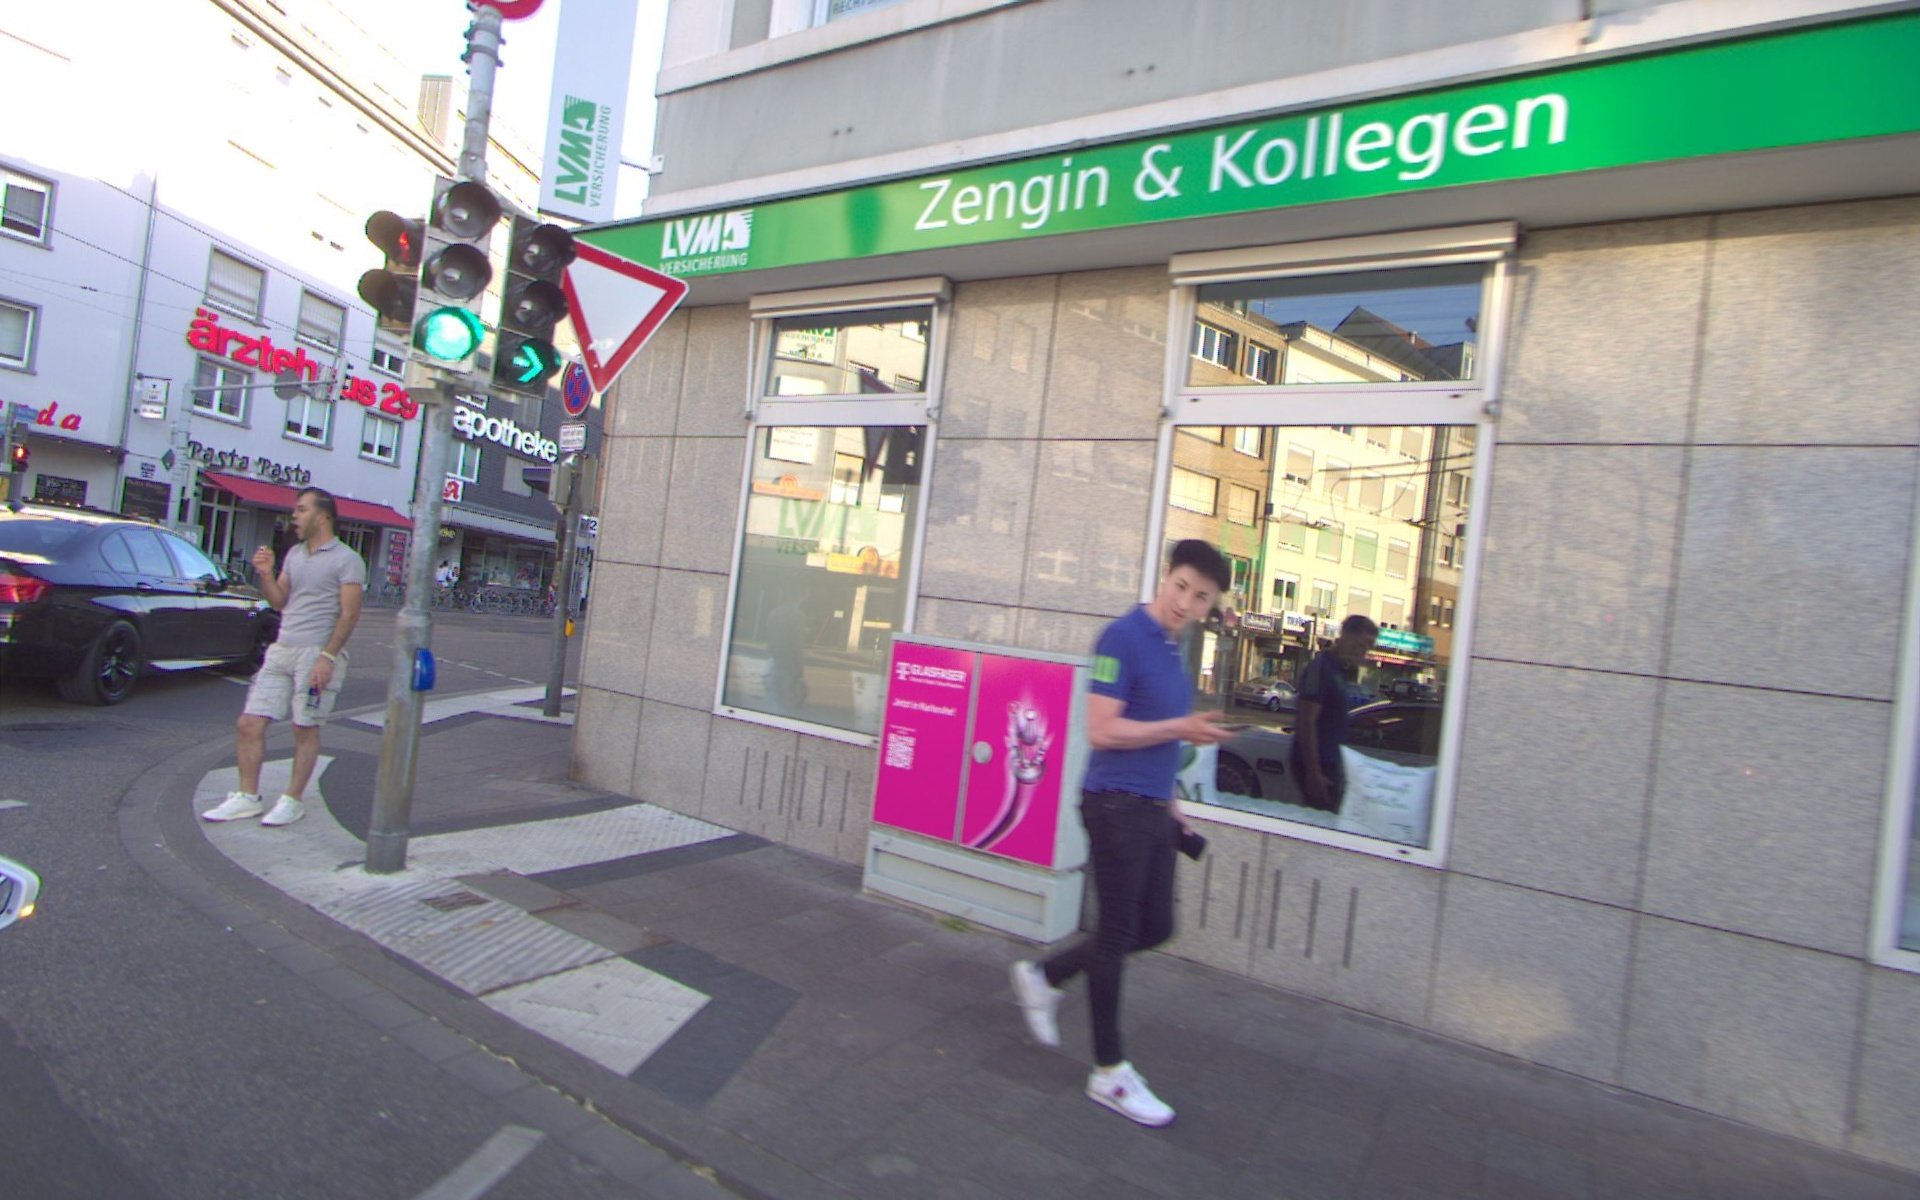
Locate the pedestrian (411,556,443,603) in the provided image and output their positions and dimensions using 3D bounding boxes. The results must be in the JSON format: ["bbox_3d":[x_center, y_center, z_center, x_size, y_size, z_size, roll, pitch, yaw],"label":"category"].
[{"bbox_3d":[-20.183,-0.778,38.098,0.671,1.681,0.625,7,0,8],"label":"pedestrian"}]

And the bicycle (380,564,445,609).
[{"bbox_3d":[-18.652,-0.463,34.280,1.861,1.225,0.554,9,0,9],"label":"bicycle"}]

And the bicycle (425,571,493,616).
[{"bbox_3d":[-17.787,-0.243,35.724,2.079,1.238,0.554,9,-1,9],"label":"bicycle"}]

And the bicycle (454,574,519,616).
[{"bbox_3d":[-17.547,-0.173,37.263,2.079,1.237,0.554,8,-2,8],"label":"bicycle"}]

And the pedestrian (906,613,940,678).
[{"bbox_3d":[-1.121,1.372,30.428,0.725,1.850,0.851,6,-1,7],"label":"pedestrian"}]

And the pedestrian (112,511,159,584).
[{"bbox_3d":[-21.405,-1.359,26.123,0.627,1.800,0.599,7,-1,30],"label":"pedestrian"}]

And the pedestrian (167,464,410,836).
[{"bbox_3d":[-3.487,0.244,5.244,0.682,1.763,0.653,7,-1,30],"label":"pedestrian"}]

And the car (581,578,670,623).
[{"bbox_3d":[-16.164,0.066,48.945,1.900,1.694,4.651,8,-1,11],"label":"car"}]

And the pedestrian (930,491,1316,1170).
[{"bbox_3d":[0.547,0.637,3.289,0.866,1.850,0.691,6,0,31],"label":"pedestrian"}]

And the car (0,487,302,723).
[{"bbox_3d":[-7.578,-0.077,8.585,1.932,1.515,4.451,9,-2,-17],"label":"car"}]

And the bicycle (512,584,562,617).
[{"bbox_3d":[-17.437,0.025,41.494,1.802,1.060,0.489,10,1,9],"label":"bicycle"}]

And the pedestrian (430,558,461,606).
[{"bbox_3d":[-19.409,-0.681,37.954,0.610,1.720,0.603,7,0,8],"label":"pedestrian"}]

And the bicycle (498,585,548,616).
[{"bbox_3d":[-17.659,0.024,40.665,1.777,0.923,0.456,10,1,9],"label":"bicycle"}]

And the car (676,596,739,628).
[{"bbox_3d":[-15.145,0.757,60.567,1.839,1.469,4.616,7,-2,10],"label":"car"}]

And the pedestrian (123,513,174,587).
[{"bbox_3d":[-20.767,-1.271,25.743,0.627,1.765,0.668,7,-1,30],"label":"pedestrian"}]
